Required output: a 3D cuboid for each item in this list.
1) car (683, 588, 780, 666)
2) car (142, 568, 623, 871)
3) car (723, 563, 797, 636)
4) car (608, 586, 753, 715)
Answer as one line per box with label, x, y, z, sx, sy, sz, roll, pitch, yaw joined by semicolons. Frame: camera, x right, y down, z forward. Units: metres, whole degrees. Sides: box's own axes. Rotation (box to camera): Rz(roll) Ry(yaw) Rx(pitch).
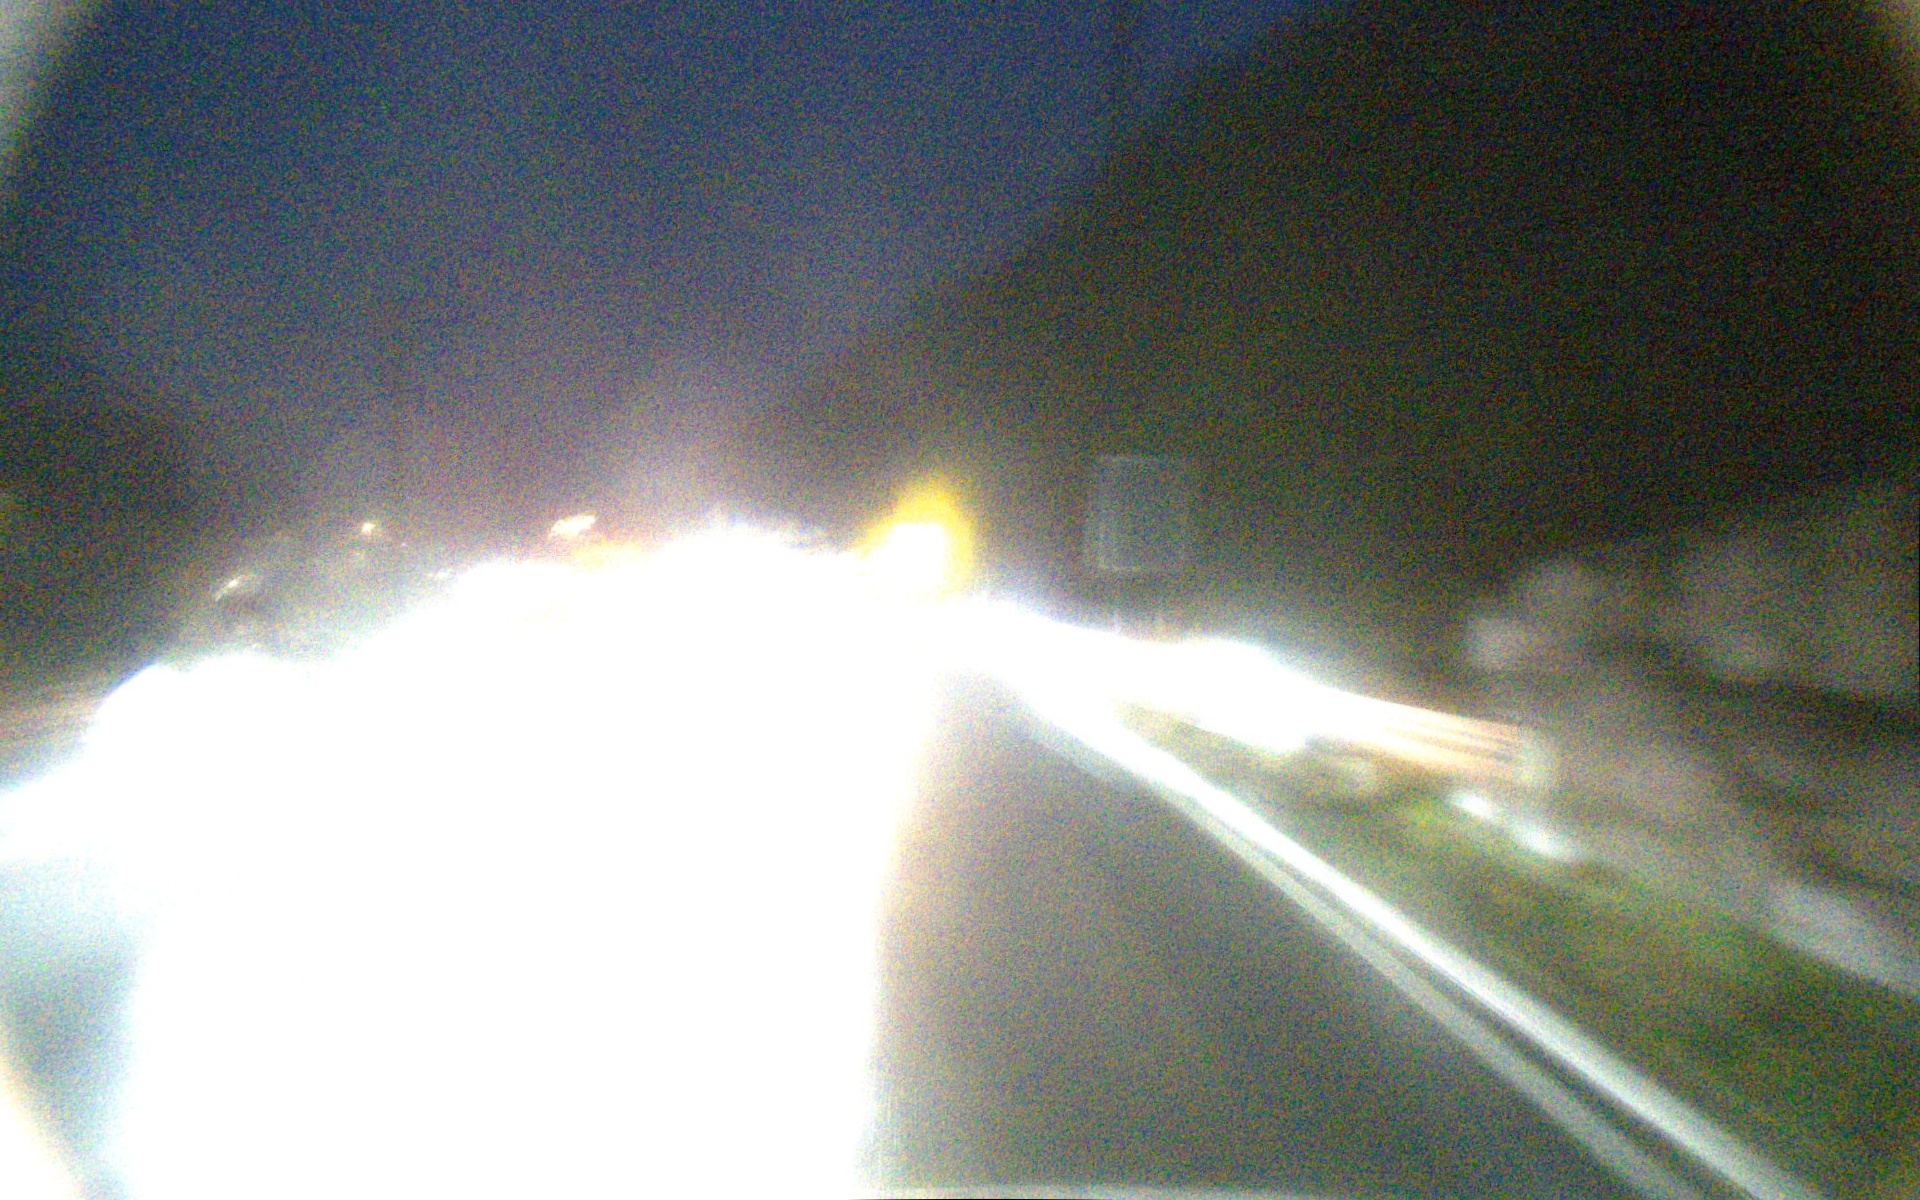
car;-4.888;0.547;35.901;1.763;1.547;4.531;-1;0;-4
car;-3.456;0.630;10.793;1.780;1.587;4.176;0;0;-2
car;-5.971;-0.003;49.747;1.954;2.111;3.997;0;0;-4
car;-3.938;0.668;23.767;1.654;1.710;3.465;0;0;-3
